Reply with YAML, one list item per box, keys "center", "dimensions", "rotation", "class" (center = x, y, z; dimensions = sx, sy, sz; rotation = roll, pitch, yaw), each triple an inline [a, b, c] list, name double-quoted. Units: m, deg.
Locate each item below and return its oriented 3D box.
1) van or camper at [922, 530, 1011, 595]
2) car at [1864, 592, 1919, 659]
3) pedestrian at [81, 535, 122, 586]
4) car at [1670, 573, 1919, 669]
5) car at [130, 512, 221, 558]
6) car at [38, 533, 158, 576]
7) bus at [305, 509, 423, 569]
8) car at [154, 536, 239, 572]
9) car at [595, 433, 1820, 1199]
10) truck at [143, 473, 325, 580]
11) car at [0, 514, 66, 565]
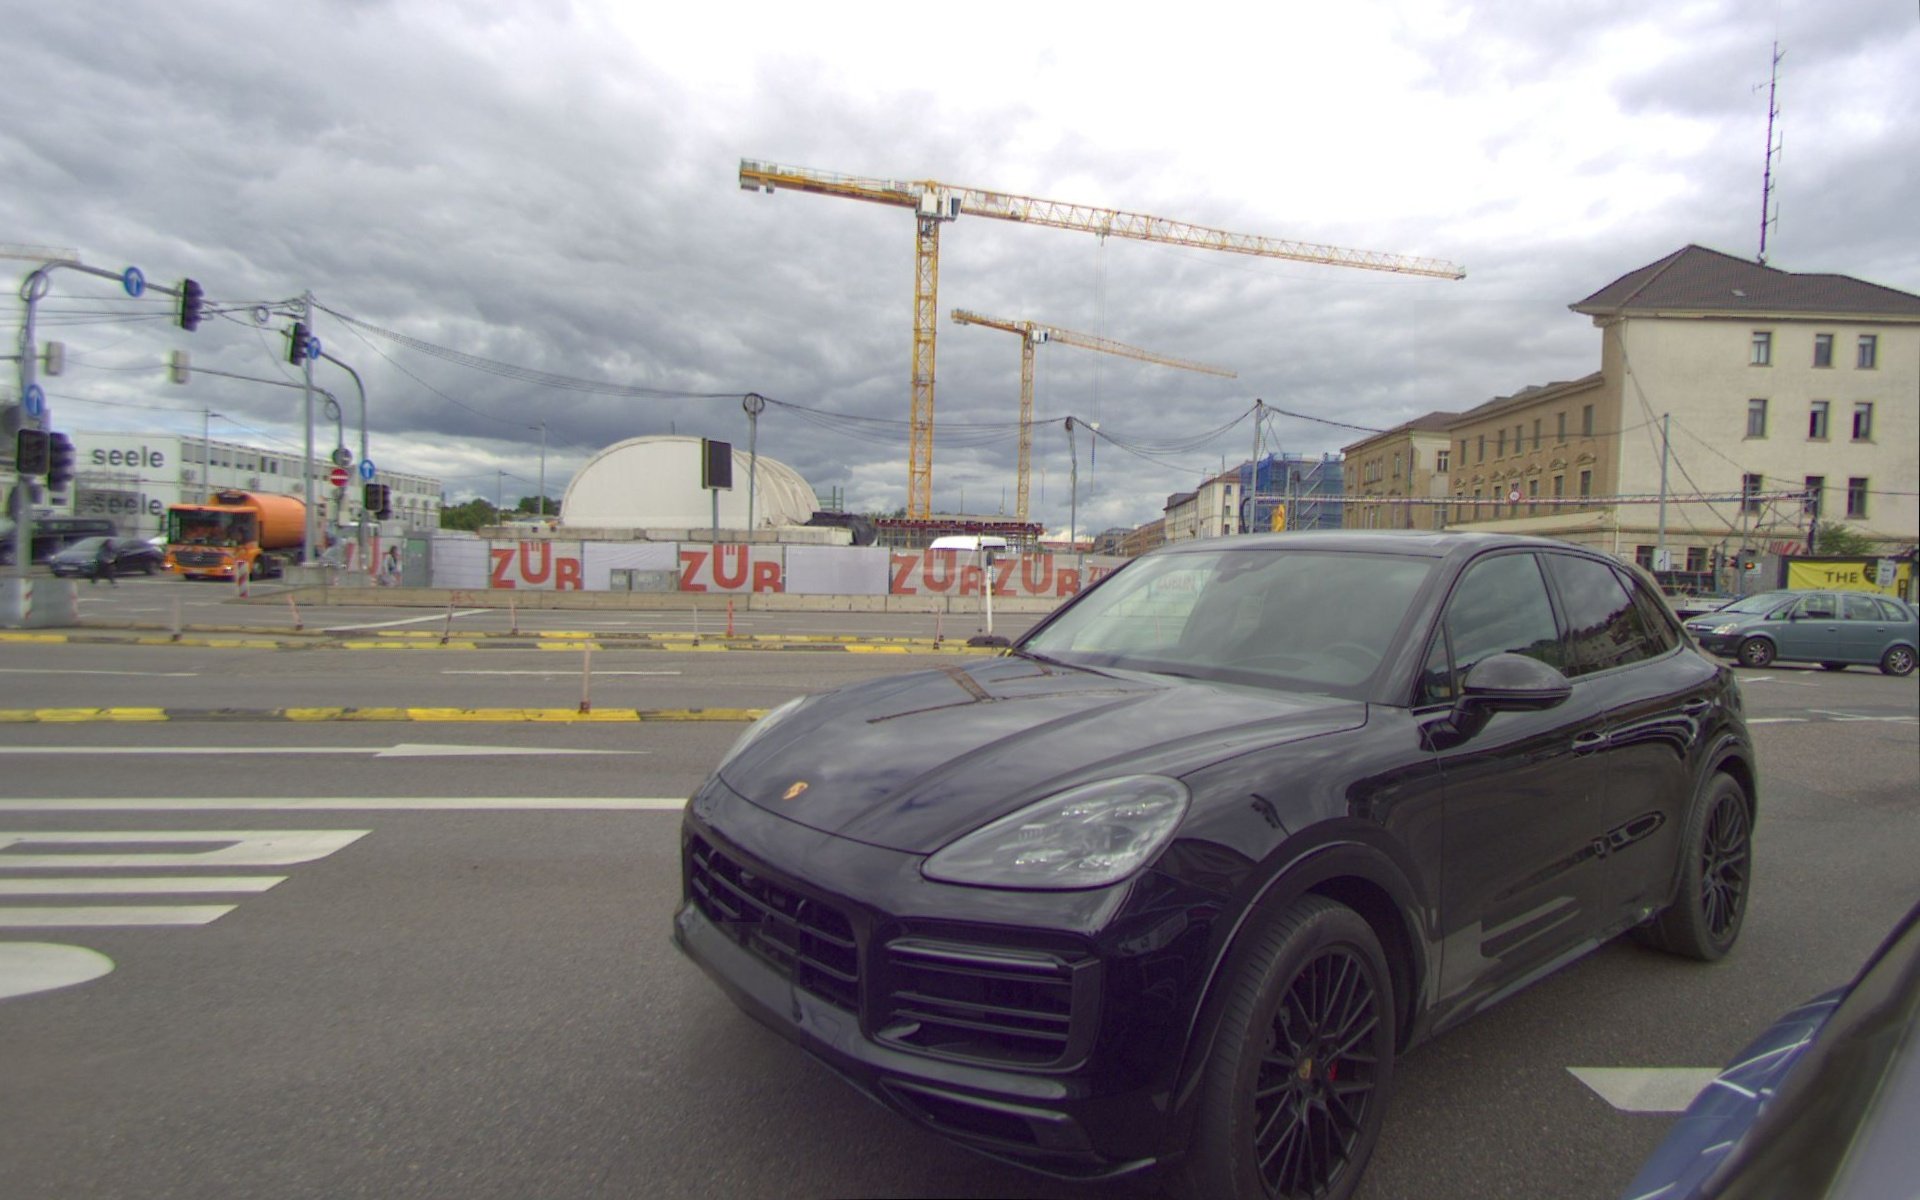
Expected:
- center: [0.310, -1.450, 38.058]
  dimensions: [1.978, 2.253, 3.971]
  rotation: [3, 4, 23]
  class: "van or camper"
- center: [23.093, 0.616, 22.627]
  dimensions: [4.015, 1.433, 1.690]
  rotation: [2, 1, 5]
  class: "car"
- center: [-27.779, -1.286, 32.759]
  dimensions: [0.833, 1.611, 0.624]
  rotation: [0, 2, -17]
  class: "pedestrian"
- center: [16.496, 0.375, 19.767]
  dimensions: [3.885, 1.593, 1.691]
  rotation: [2, 3, 5]
  class: "car"
- center: [-39.182, -3.206, 50.687]
  dimensions: [1.958, 2.038, 4.174]
  rotation: [2, 1, -13]
  class: "car"
- center: [-31.948, -1.702, 37.652]
  dimensions: [1.749, 1.453, 4.078]
  rotation: [1, 2, -14]
  class: "car"
- center: [-35.922, -3.565, 61.503]
  dimensions: [2.756, 3.209, 9.418]
  rotation: [2, 1, -8]
  class: "bus"
- center: [-32.924, -1.996, 43.734]
  dimensions: [1.617, 1.453, 3.628]
  rotation: [1, 2, -14]
  class: "car"
- center: [1.267, 0.523, 3.721]
  dimensions: [4.524, 1.668, 1.957]
  rotation: [0, 3, -38]
  class: "car"
- center: [-28.813, -2.858, 40.765]
  dimensions: [2.849, 3.719, 9.050]
  rotation: [2, 2, -14]
  class: "truck"
- center: [-40.291, -2.562, 42.933]
  dimensions: [1.958, 2.038, 4.009]
  rotation: [2, 1, -16]
  class: "car"
